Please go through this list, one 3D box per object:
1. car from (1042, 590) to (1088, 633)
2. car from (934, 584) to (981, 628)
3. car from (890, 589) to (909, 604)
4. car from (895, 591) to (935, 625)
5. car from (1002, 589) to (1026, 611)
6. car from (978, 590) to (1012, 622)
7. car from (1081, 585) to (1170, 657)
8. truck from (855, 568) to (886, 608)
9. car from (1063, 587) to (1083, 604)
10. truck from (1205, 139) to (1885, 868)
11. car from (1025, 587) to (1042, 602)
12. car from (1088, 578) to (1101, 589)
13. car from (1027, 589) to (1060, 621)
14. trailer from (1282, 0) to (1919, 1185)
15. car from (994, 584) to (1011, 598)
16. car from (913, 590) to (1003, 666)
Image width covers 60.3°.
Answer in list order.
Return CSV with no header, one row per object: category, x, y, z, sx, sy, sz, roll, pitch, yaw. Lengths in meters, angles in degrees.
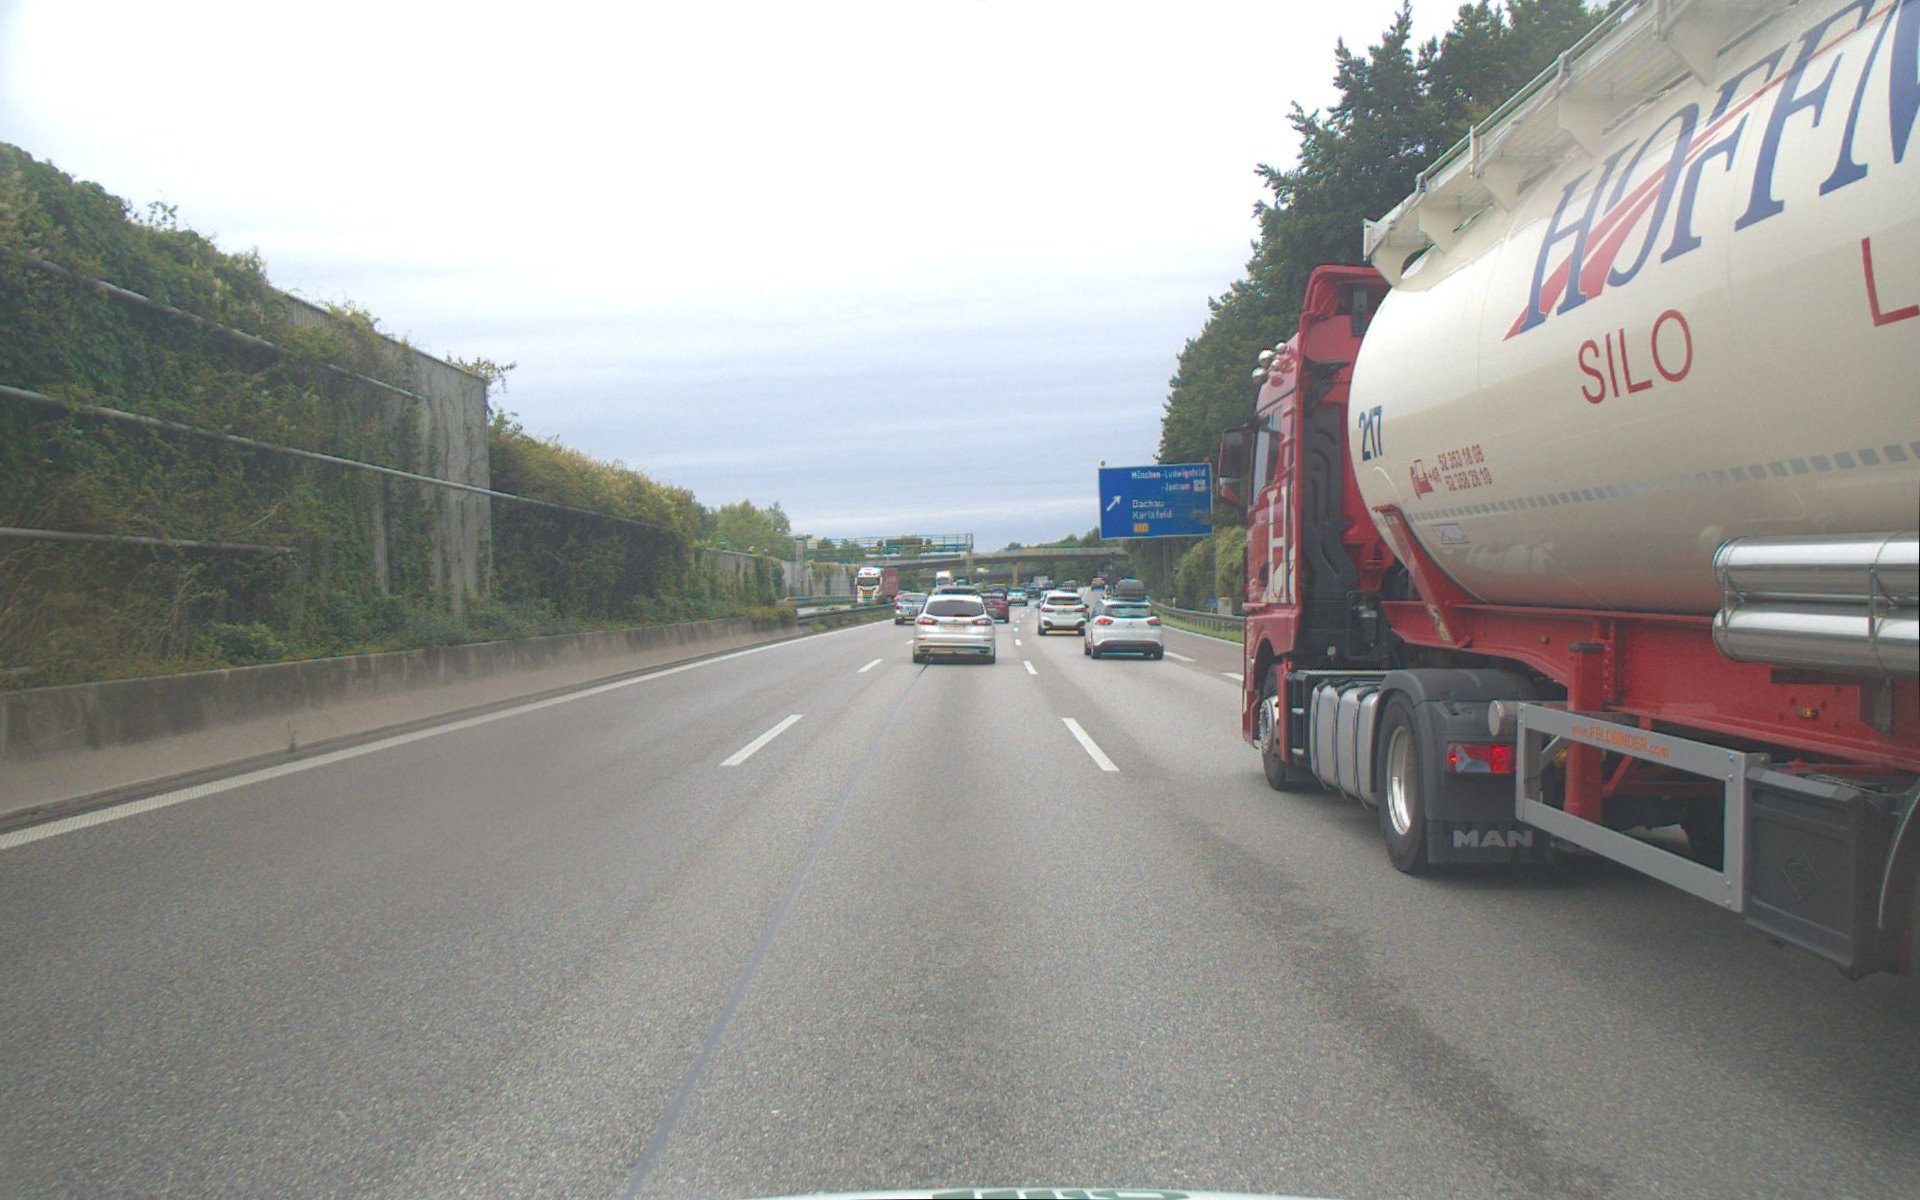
car,3.914,0.419,61.396,1.653,1.533,3.873,0,0,4
car,-0.067,0.206,64.634,1.654,1.532,3.872,4,1,1
car,-6.499,-0.328,178.434,1.735,1.597,4.718,0,0,1
car,-2.111,0.398,78.729,1.684,1.495,5.030,0,-2,1
car,4.708,0.029,143.012,1.752,1.811,3.874,-1,0,6
car,1.790,0.289,83.914,1.654,1.533,3.872,0,0,2
car,3.982,0.490,40.437,1.778,1.654,5.031,0,0,1
truck,-9.767,-1.317,180.822,2.612,4.200,5.920,-1,0,5
car,10.525,-0.460,153.824,1.653,1.566,3.874,0,0,6
truck,3.700,-0.535,12.352,2.640,3.981,6.554,0,0,-1
car,7.996,-0.631,179.596,1.653,1.566,3.874,0,0,6
car,18.063,-2.212,222.620,1.653,1.447,3.873,0,0,4
car,4.847,0.304,95.737,1.653,1.811,3.874,-2,-1,6
trailer,3.722,-0.530,5.263,2.614,4.007,13.127,0,0,-1
car,4.589,-1.007,180.033,1.653,1.447,3.873,0,0,4
car,-0.062,0.590,37.256,1.853,1.530,5.029,2,0,0
